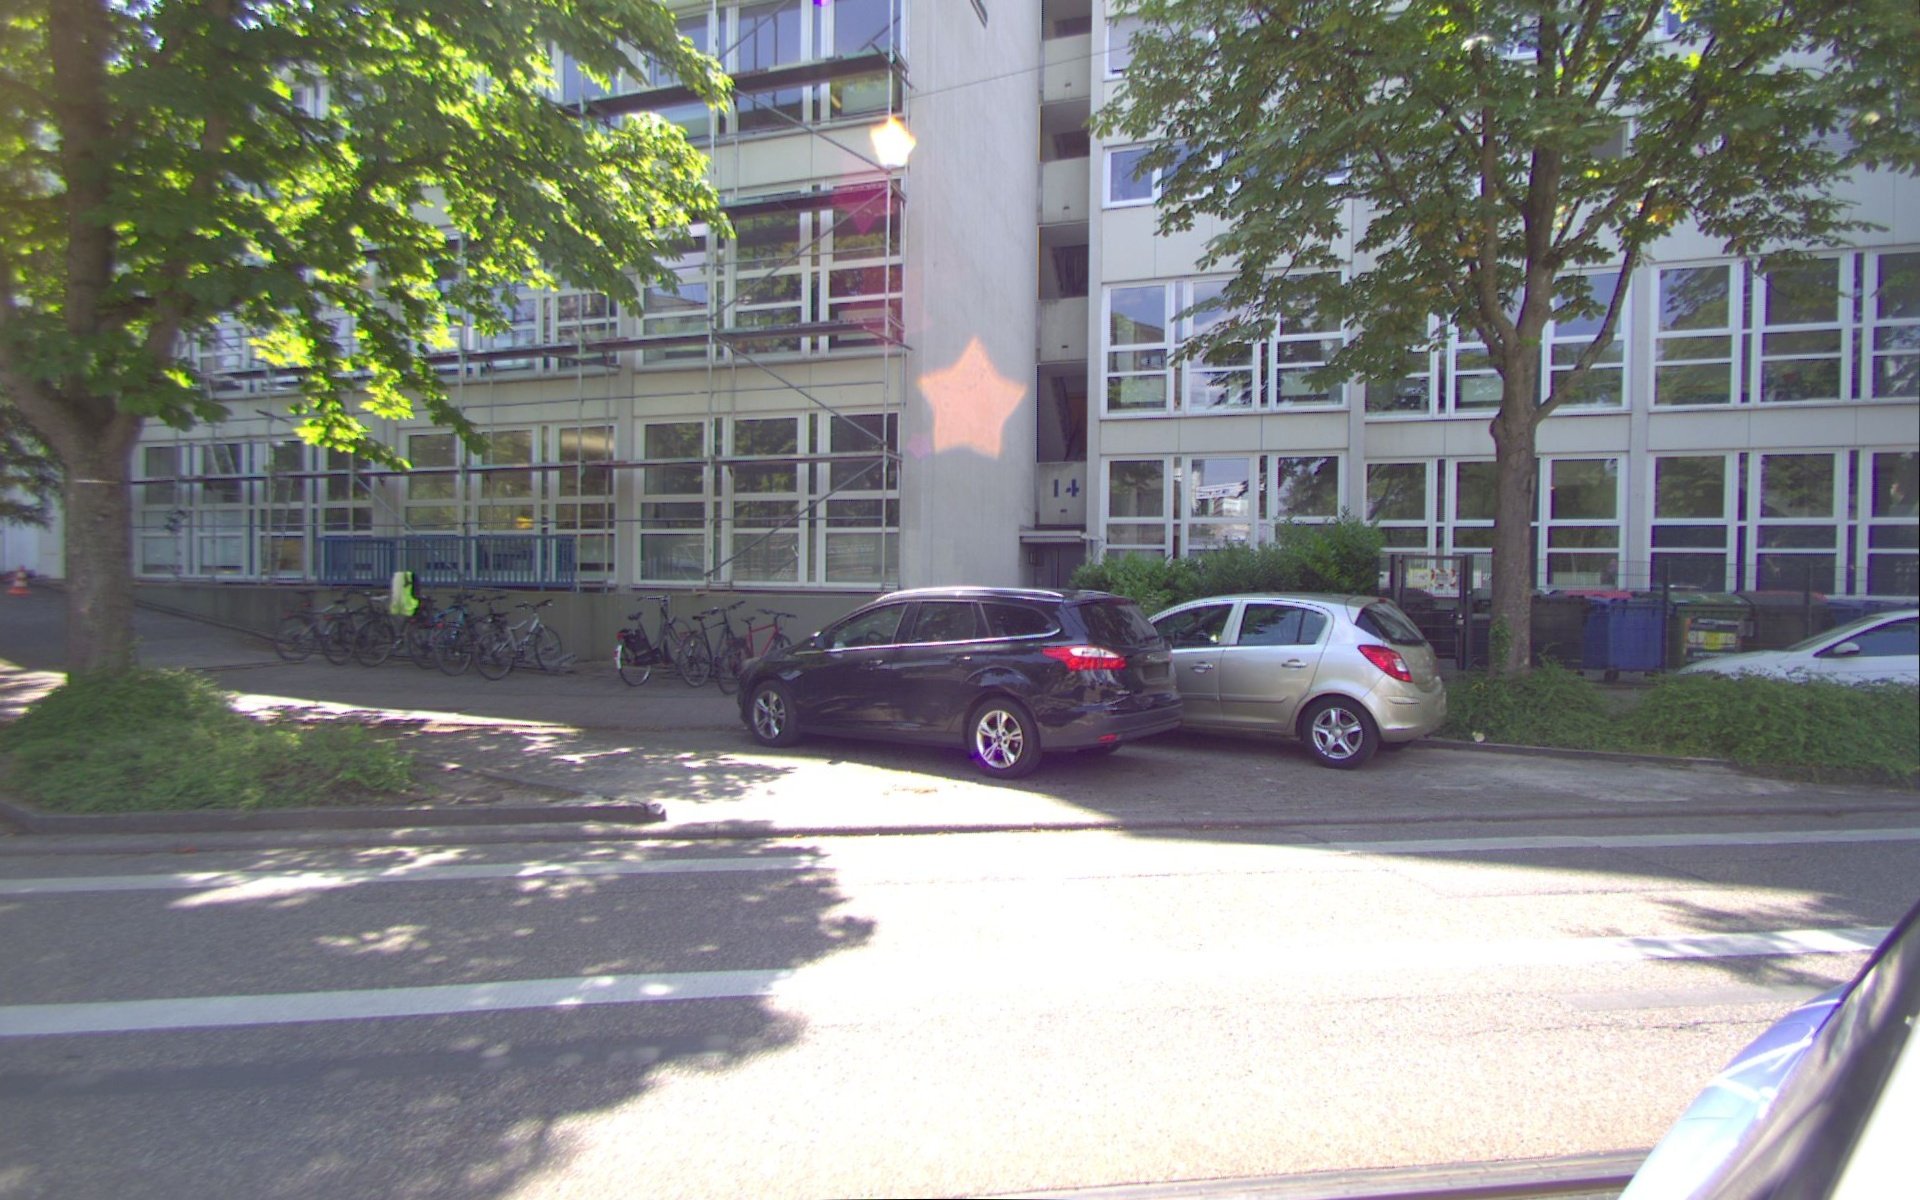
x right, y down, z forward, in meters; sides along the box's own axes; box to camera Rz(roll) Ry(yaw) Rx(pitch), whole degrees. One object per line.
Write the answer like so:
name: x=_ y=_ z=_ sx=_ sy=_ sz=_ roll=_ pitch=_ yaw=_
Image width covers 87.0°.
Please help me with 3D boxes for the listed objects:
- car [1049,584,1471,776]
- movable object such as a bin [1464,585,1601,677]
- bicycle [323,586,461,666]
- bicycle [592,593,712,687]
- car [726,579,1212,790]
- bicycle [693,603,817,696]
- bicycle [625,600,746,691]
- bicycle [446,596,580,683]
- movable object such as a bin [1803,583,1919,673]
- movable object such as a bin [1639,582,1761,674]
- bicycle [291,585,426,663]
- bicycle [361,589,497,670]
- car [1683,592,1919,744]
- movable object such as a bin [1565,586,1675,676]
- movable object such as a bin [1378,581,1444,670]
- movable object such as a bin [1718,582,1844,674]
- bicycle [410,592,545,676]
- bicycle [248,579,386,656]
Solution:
car: x=2.799 y=0.605 z=9.666 sx=3.518 sy=1.480 sz=1.732 roll=1 pitch=1 yaw=36
movable object such as a bin: x=8.736 y=0.458 z=15.492 sx=1.423 sy=1.347 sz=1.128 roll=0 pitch=0 yaw=-7
bicycle: x=-8.685 y=0.360 z=15.570 sx=0.562 sy=1.144 sz=1.913 roll=0 pitch=1 yaw=22
bicycle: x=-4.373 y=0.527 z=14.529 sx=0.562 sy=1.253 sz=1.929 roll=0 pitch=1 yaw=22
car: x=-0.042 y=0.570 z=9.130 sx=4.171 sy=1.488 sz=1.732 roll=1 pitch=1 yaw=36
bicycle: x=-2.803 y=0.639 z=14.095 sx=0.562 sy=1.144 sz=2.218 roll=0 pitch=1 yaw=22
bicycle: x=-3.776 y=0.592 z=14.094 sx=0.562 sy=1.144 sz=1.929 roll=0 pitch=1 yaw=22
bicycle: x=-6.390 y=0.522 z=14.590 sx=0.562 sy=1.144 sz=1.929 roll=0 pitch=1 yaw=22
movable object such as a bin: x=14.610 y=0.435 z=16.318 sx=1.159 sy=1.416 sz=1.038 roll=0 pitch=0 yaw=0
movable object such as a bin: x=11.727 y=0.429 z=16.082 sx=1.159 sy=1.416 sz=1.038 roll=0 pitch=0 yaw=0
bicycle: x=-9.384 y=0.340 z=15.877 sx=0.561 sy=1.144 sz=1.916 roll=0 pitch=1 yaw=19
bicycle: x=-7.987 y=0.402 z=15.325 sx=0.562 sy=1.144 sz=1.929 roll=0 pitch=1 yaw=22
car: x=9.812 y=0.656 z=10.289 sx=3.956 sy=1.431 sz=1.693 roll=1 pitch=1 yaw=36
movable object such as a bin: x=10.256 y=0.461 z=15.762 sx=1.055 sy=1.347 sz=0.972 roll=0 pitch=0 yaw=-7
movable object such as a bin: x=7.420 y=0.411 z=16.673 sx=0.790 sy=1.423 sz=0.766 roll=0 pitch=0 yaw=6
movable object such as a bin: x=13.113 y=0.432 z=16.198 sx=1.159 sy=1.416 sz=1.038 roll=0 pitch=0 yaw=0
bicycle: x=-7.082 y=0.458 z=14.959 sx=0.562 sy=1.144 sz=1.929 roll=0 pitch=1 yaw=22
bicycle: x=-10.138 y=0.251 z=16.034 sx=0.561 sy=1.144 sz=1.916 roll=0 pitch=1 yaw=19
